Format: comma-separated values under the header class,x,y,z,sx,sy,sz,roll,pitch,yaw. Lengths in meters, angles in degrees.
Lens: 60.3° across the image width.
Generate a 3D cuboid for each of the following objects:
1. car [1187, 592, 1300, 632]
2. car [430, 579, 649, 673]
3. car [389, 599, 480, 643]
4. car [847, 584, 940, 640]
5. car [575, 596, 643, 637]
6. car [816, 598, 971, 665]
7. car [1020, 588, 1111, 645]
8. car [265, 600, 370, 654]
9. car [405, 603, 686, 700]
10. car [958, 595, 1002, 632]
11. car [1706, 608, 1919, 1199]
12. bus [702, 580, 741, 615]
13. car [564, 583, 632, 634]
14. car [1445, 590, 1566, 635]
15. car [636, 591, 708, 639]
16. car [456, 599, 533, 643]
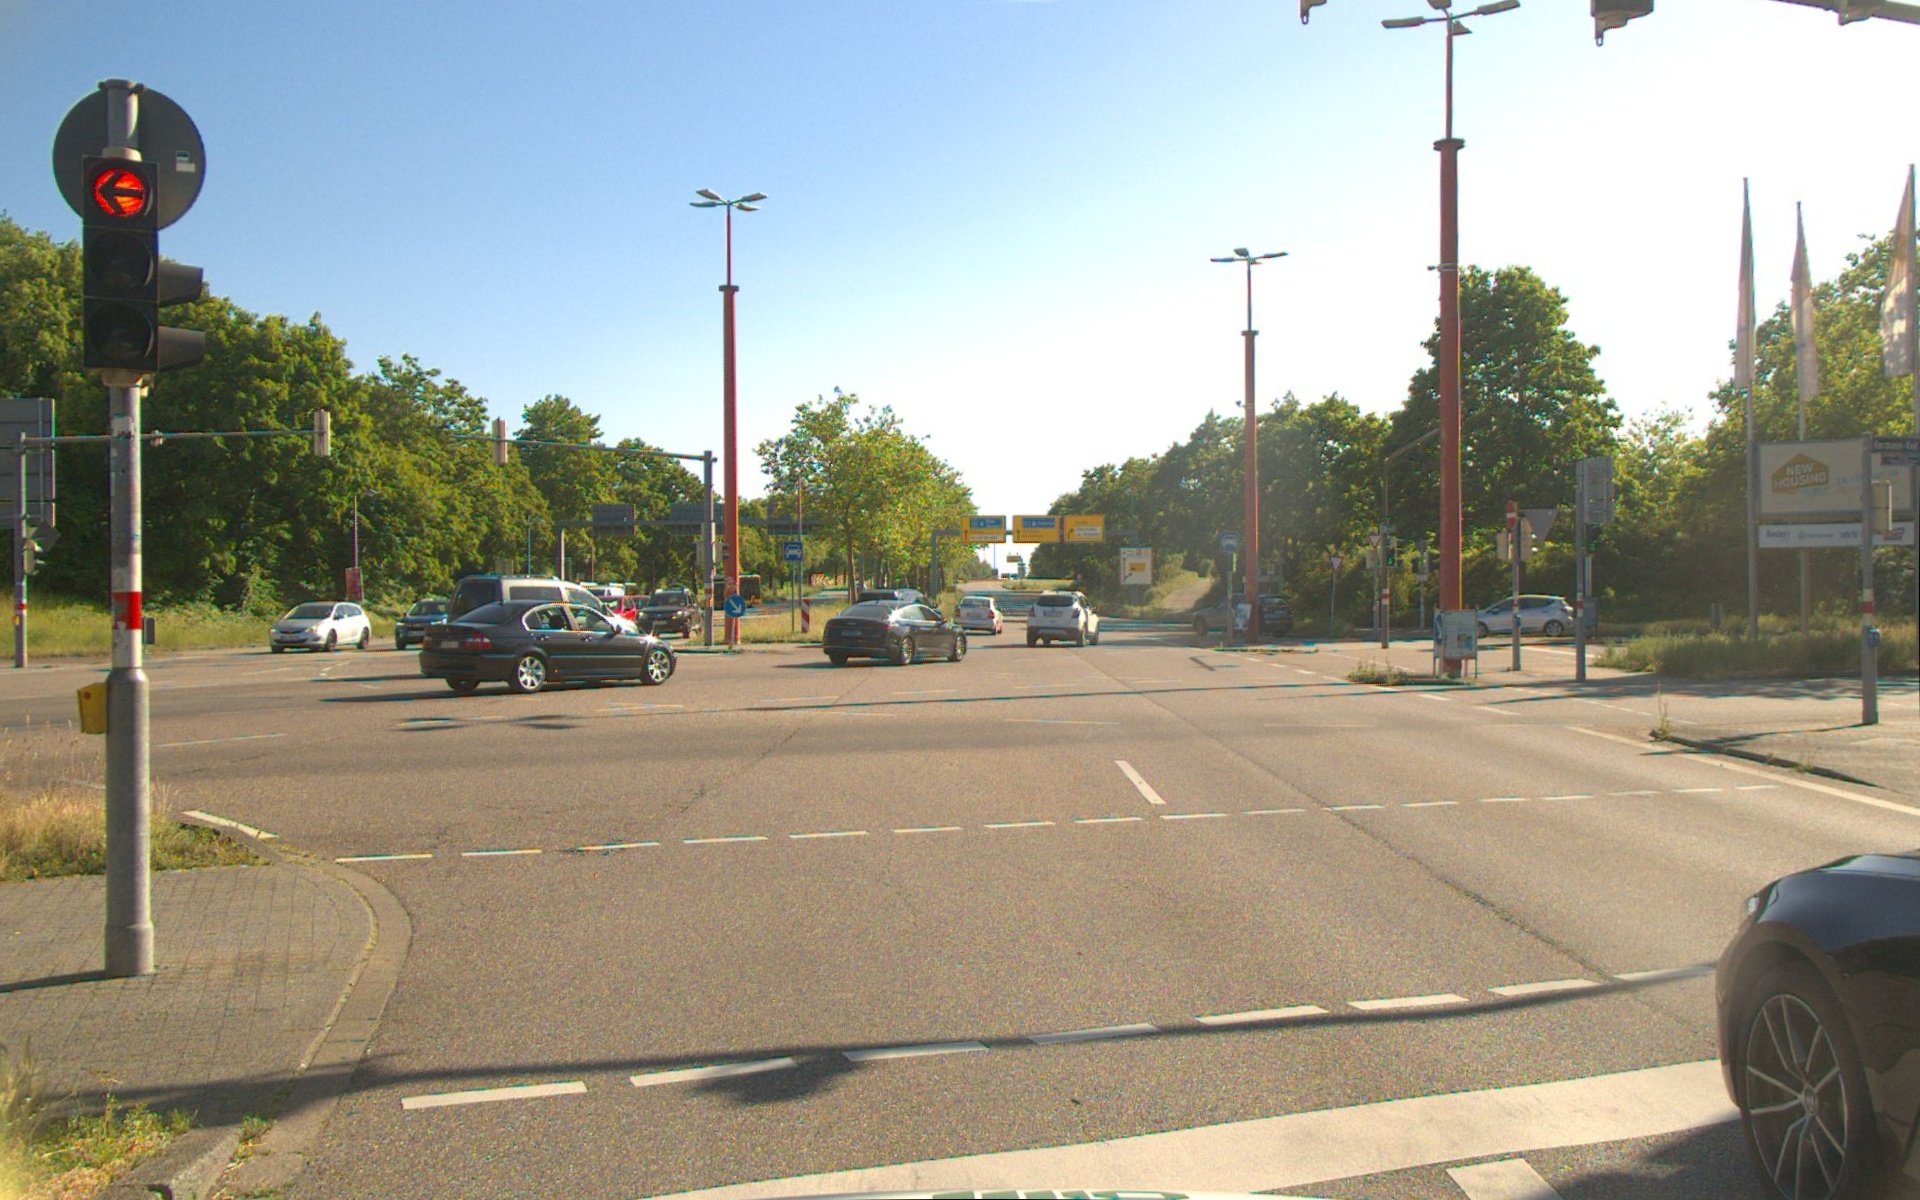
class,x,y,z,sx,sy,sz,roll,pitch,yaw
car,10.953,0.451,64.197,1.767,1.511,4.270,0,0,-38
car,-8.229,0.467,32.772,1.810,1.738,4.301,0,0,28
car,-16.054,0.613,50.673,1.704,1.265,3.611,0,0,-2
car,-1.914,0.323,48.887,1.812,1.572,4.266,0,0,11
car,-12.280,0.554,58.072,1.704,1.386,3.611,0,0,-2
car,-1.398,0.652,36.650,1.724,1.373,4.361,0,0,23
car,3.289,0.483,50.895,1.784,1.665,4.255,0,0,18
car,-19.477,0.777,50.312,1.725,1.559,3.934,0,0,-2
car,-6.476,0.758,26.283,1.728,1.373,4.351,0,0,32
car,0.788,0.519,63.393,1.452,1.369,4.002,0,-1,4
car,2.941,0.738,2.359,1.831,1.422,4.444,0,0,1
bus,-23.538,-0.268,163.598,2.441,3.295,9.999,0,0,-1
car,-15.366,0.365,70.502,1.855,2.061,5.221,1,0,-2
car,18.827,0.423,57.151,3.898,1.493,1.685,0,0,18
car,-9.703,0.485,55.902,1.782,1.534,3.999,0,0,-1
car,-15.931,0.702,56.790,1.704,1.436,3.611,0,0,-2
